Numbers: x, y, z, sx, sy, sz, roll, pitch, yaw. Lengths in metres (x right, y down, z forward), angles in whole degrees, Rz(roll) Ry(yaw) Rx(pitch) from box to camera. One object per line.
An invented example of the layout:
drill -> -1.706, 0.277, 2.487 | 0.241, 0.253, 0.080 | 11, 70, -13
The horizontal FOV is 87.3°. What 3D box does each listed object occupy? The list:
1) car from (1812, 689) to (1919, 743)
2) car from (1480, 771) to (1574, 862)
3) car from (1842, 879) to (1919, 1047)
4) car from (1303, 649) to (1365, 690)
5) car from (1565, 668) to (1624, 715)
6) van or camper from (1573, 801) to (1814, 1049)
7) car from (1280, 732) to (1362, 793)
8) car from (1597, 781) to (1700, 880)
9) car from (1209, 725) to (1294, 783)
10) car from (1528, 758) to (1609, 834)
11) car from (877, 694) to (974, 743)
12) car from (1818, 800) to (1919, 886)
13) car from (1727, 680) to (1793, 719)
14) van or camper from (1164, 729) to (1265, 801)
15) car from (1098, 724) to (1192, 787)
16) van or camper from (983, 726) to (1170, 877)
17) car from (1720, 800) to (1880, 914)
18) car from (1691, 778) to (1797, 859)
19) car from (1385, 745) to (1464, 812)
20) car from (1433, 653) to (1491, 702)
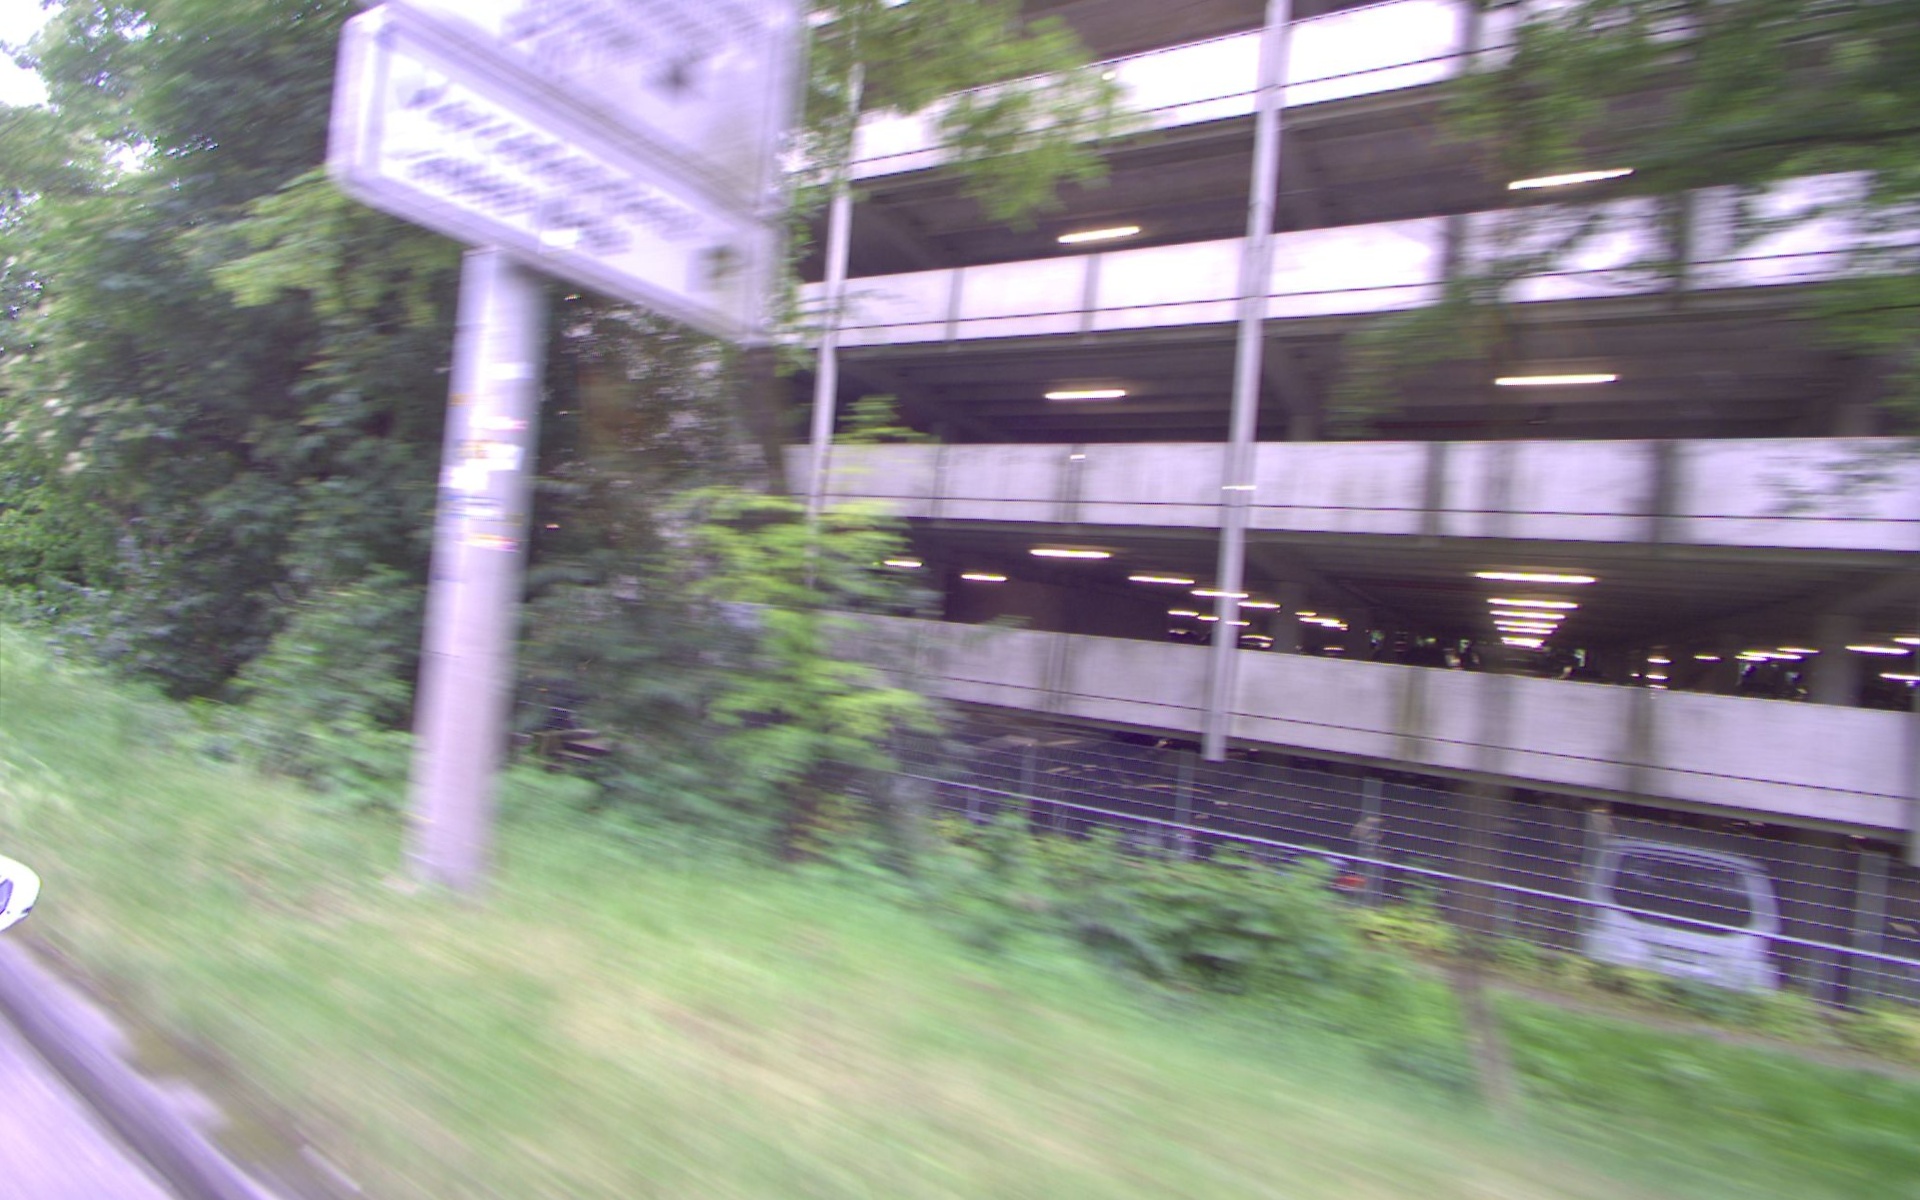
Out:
car -> 29.403, 3.711, 32.703 | 1.830, 1.502, 3.763 | 3, -3, 30
car -> 13.129, 4.898, 23.198 | 1.646, 1.373, 3.666 | 5, -1, 32
car -> 12.332, 4.555, 11.841 | 1.916, 1.453, 4.014 | 4, -2, 27
car -> 17.037, 3.188, 45.747 | 1.831, 1.609, 4.184 | 3, -3, 31
car -> 25.865, 3.727, 41.105 | 1.831, 1.660, 4.184 | 3, -3, 31
van or camper -> 9.373, 3.999, 13.217 | 1.808, 1.977, 4.013 | 5, -1, 27
car -> 11.058, 4.894, 30.665 | 1.758, 1.323, 3.698 | 4, -1, 29
car -> 15.516, 5.137, 22.818 | 1.646, 1.459, 3.666 | 5, -1, 32
car -> 9.270, 4.798, 31.782 | 1.758, 1.323, 3.698 | 4, -1, 29
car -> 16.678, 5.324, 27.705 | 1.694, 1.440, 3.698 | 4, -2, 30
car -> -1.088, 3.823, 32.811 | 1.543, 1.323, 3.205 | 4, -1, 32
car -> 21.856, 5.755, 24.013 | 1.577, 1.323, 3.693 | 4, -1, 34
car -> 37.795, 4.685, 47.625 | 1.831, 1.609, 4.184 | 3, -3, 31
van or camper -> 7.035, 4.451, 27.561 | 1.698, 1.426, 3.718 | 5, -1, 29
car -> 5.268, 4.318, 28.310 | 1.445, 1.316, 3.548 | 5, -1, 29
van or camper -> 2.215, 3.457, 18.074 | 1.809, 1.977, 4.011 | 5, -1, 29
car -> 17.213, 5.205, 20.817 | 1.644, 1.458, 3.670 | 4, -1, 27
car -> 19.868, 5.482, 25.623 | 1.760, 1.323, 3.693 | 4, -1, 34
car -> 13.459, 5.091, 29.052 | 1.758, 1.323, 3.698 | 4, -1, 29
car -> 21.698, 3.352, 43.392 | 1.831, 1.907, 4.184 | 3, -3, 31
